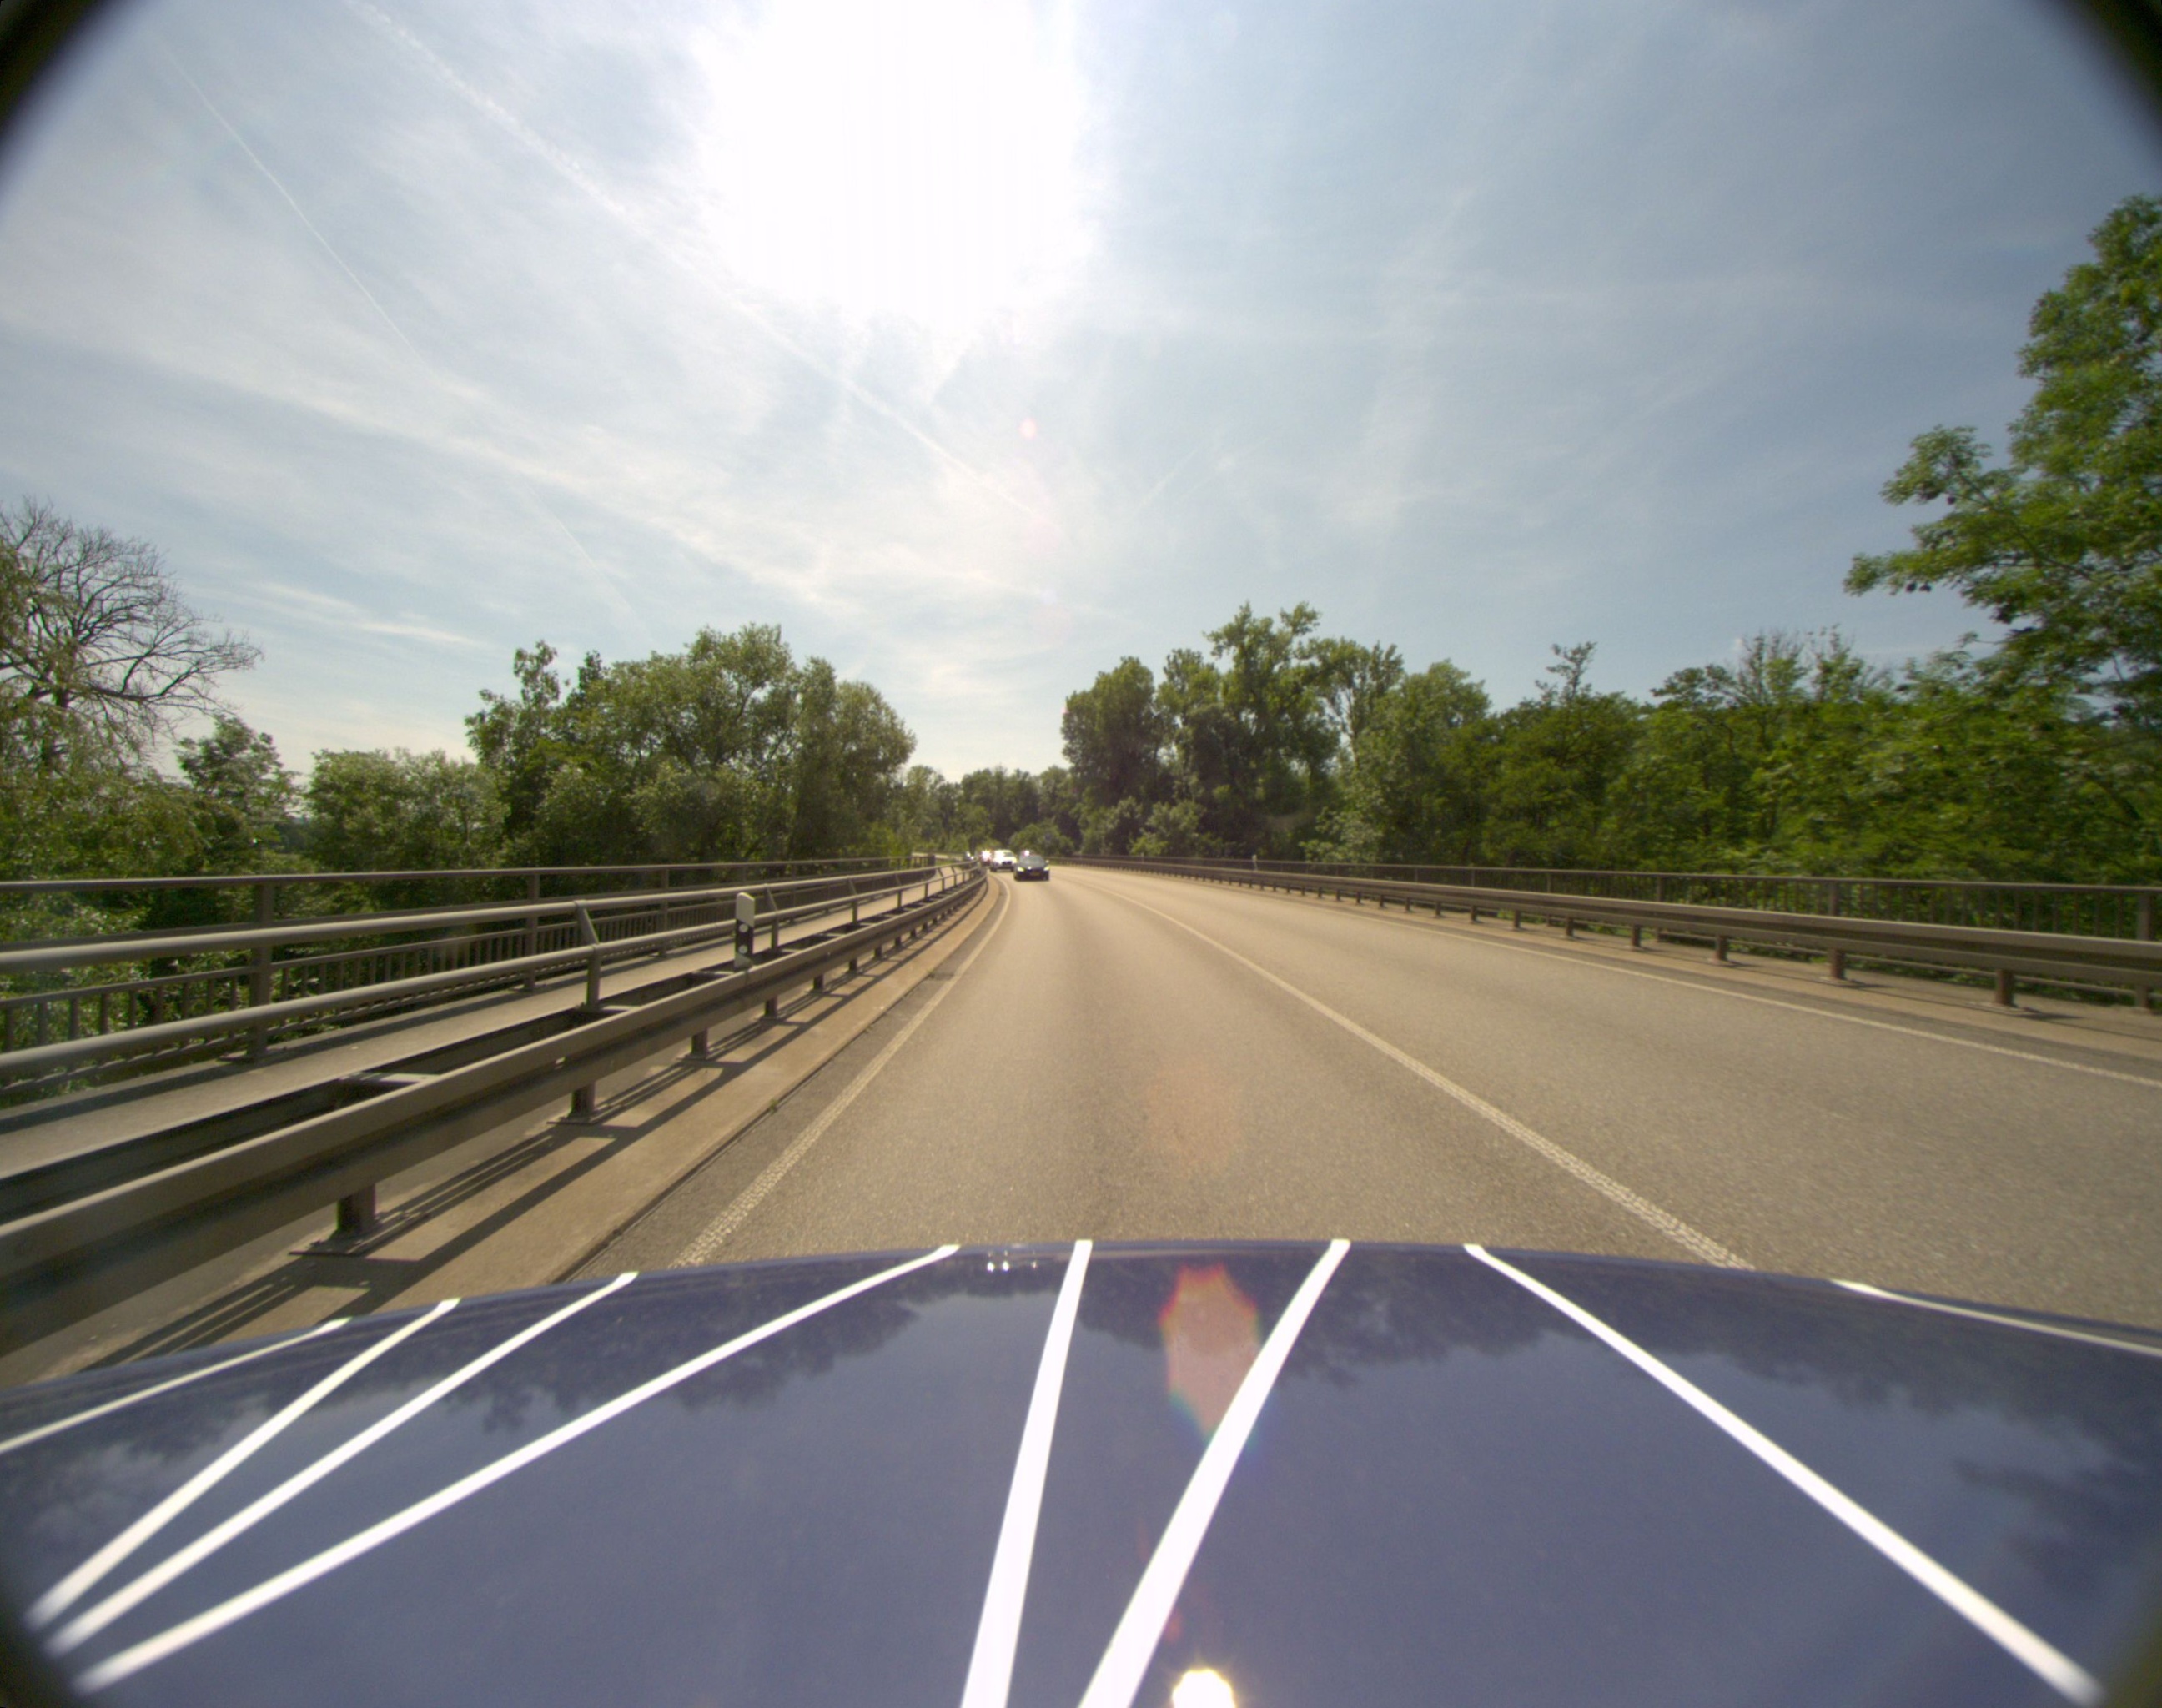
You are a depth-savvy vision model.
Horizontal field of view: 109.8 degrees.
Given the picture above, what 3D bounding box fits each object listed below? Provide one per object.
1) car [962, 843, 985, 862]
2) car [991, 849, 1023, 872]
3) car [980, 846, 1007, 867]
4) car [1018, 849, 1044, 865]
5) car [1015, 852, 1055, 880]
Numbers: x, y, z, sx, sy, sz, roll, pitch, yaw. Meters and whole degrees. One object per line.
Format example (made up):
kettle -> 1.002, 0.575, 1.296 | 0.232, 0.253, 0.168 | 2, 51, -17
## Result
car -> -11.968, -0.146, 84.279 | 2.001, 2.002, 3.994 | -3, 1, -16
car -> -5.795, 0.437, 58.912 | 1.911, 1.638, 3.945 | -3, 1, -13
car -> -8.111, 0.211, 70.219 | 2.001, 1.765, 3.995 | -3, 1, -14
car -> -4.990, 0.308, 75.260 | 1.825, 1.515, 3.945 | -2, 1, -13
car -> -2.625, 0.641, 42.702 | 1.910, 1.413, 3.947 | -2, 1, -7
